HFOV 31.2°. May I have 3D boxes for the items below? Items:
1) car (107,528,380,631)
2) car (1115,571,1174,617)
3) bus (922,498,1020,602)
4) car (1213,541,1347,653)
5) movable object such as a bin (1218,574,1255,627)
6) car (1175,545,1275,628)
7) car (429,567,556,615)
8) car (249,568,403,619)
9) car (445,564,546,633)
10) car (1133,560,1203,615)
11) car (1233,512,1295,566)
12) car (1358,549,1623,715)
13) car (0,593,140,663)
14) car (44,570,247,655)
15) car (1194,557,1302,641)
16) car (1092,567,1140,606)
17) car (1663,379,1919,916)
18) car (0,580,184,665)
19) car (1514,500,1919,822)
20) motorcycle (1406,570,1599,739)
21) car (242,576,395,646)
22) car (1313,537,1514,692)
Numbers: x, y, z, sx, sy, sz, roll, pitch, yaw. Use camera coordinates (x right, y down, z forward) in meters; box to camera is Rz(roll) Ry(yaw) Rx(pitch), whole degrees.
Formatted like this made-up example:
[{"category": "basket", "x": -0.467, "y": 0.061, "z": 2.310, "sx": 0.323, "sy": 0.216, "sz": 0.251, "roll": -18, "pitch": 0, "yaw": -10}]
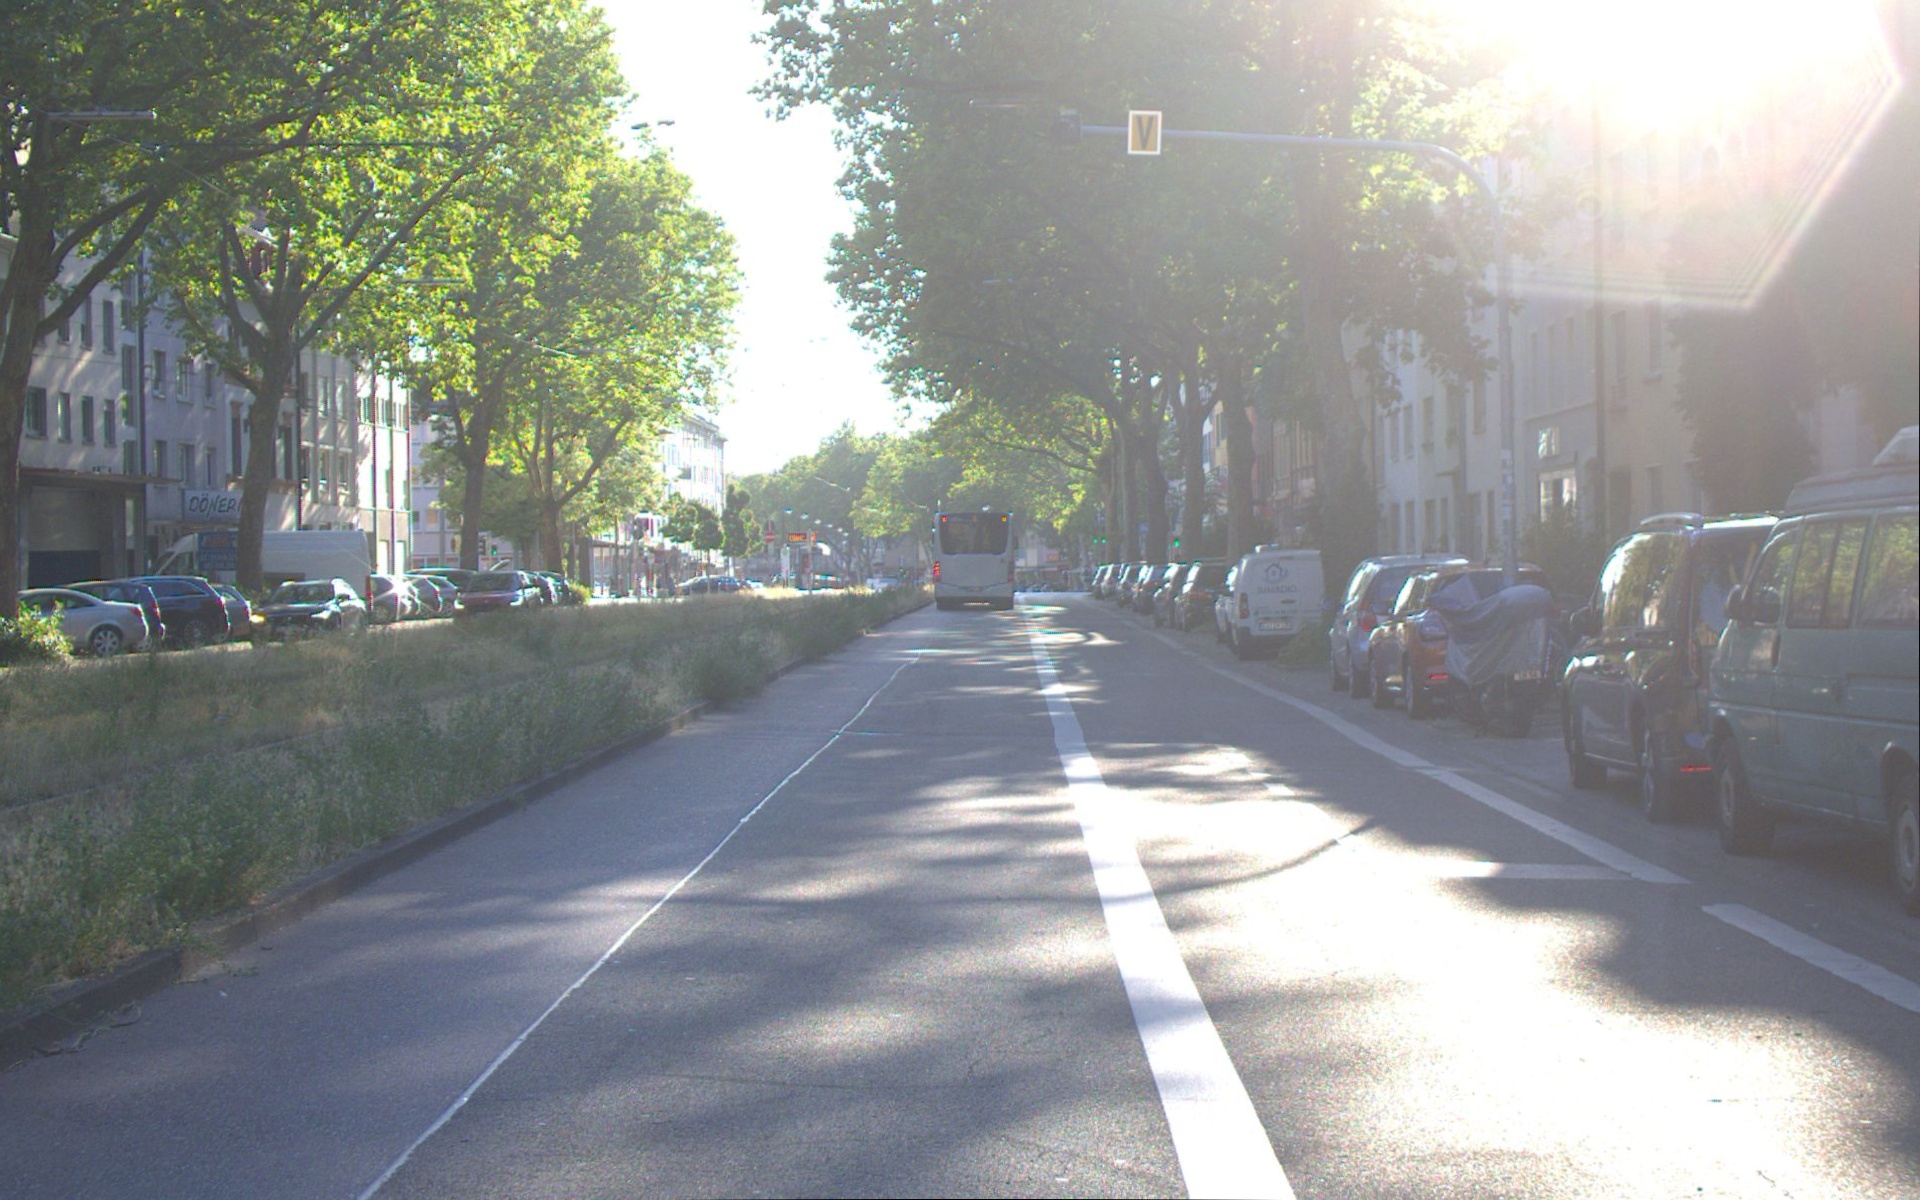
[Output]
[{"category": "car", "x": -19.306, "y": -0.563, "z": 92.630, "sx": 6.935, "sy": 2.669, "sz": 2.186, "roll": -1, "pitch": 0, "yaw": -20}, {"category": "car", "x": 6.267, "y": -0.217, "z": 116.970, "sx": 1.781, "sy": 1.510, "sz": 4.000, "roll": -1, "pitch": 1, "yaw": 1}, {"category": "bus", "x": 0.308, "y": -1.556, "z": 111.422, "sx": 2.833, "sy": 3.224, "sz": 8.183, "roll": -1, "pitch": 0, "yaw": -2}, {"category": "car", "x": 5.270, "y": -0.050, "z": 57.096, "sx": 1.744, "sy": 1.764, "sz": 4.394, "roll": -1, "pitch": 0, "yaw": -1}, {"category": "movable object such as a bin", "x": 5.666, "y": 0.000, "z": 70.448, "sx": 0.673, "sy": 1.042, "sz": 0.880, "roll": -1, "pitch": 2, "yaw": 1}, {"category": "car", "x": 5.847, "y": -0.287, "z": 76.257, "sx": 1.744, "sy": 1.764, "sz": 4.988, "roll": -1, "pitch": 0, "yaw": -1}, {"category": "car", "x": -17.348, "y": -0.336, "z": 127.666, "sx": 4.300, "sy": 1.732, "sz": 1.858, "roll": -1, "pitch": 0, "yaw": -40}, {"category": "car", "x": -18.821, "y": -0.181, "z": 102.203, "sx": 4.297, "sy": 1.453, "sz": 1.859, "roll": -1, "pitch": 0, "yaw": -5}, {"category": "car", "x": -11.066, "y": -0.058, "z": 82.080, "sx": 1.790, "sy": 1.568, "sz": 4.000, "roll": -1, "pitch": 1, "yaw": 1}, {"category": "car", "x": 5.974, "y": -0.369, "z": 99.101, "sx": 1.781, "sy": 1.510, "sz": 4.000, "roll": -1, "pitch": 1, "yaw": 1}, {"category": "car", "x": 10.980, "y": -2.184, "z": 124.324, "sx": 1.883, "sy": 1.853, "sz": 4.325, "roll": -1, "pitch": 0, "yaw": 1}, {"category": "car", "x": 5.263, "y": 0.309, "z": 34.629, "sx": 1.993, "sy": 1.555, "sz": 3.980, "roll": -1, "pitch": 0, "yaw": -1}, {"category": "car", "x": -18.532, "y": 0.563, "z": 68.437, "sx": 3.987, "sy": 1.351, "sz": 1.586, "roll": -1, "pitch": 0, "yaw": -31}, {"category": "car", "x": -18.220, "y": 0.273, "z": 76.924, "sx": 3.987, "sy": 1.693, "sz": 1.856, "roll": -3, "pitch": 1, "yaw": -31}, {"category": "car", "x": 5.298, "y": -0.047, "z": 63.643, "sx": 1.645, "sy": 1.481, "sz": 4.000, "roll": -1, "pitch": 1, "yaw": 0}, {"category": "car", "x": 6.319, "y": -0.554, "z": 139.340, "sx": 1.781, "sy": 1.510, "sz": 4.000, "roll": -1, "pitch": 1, "yaw": 1}, {"category": "car", "x": 4.988, "y": 0.195, "z": 16.693, "sx": 1.993, "sy": 2.249, "sz": 5.235, "roll": -1, "pitch": 0, "yaw": -1}, {"category": "car", "x": -18.878, "y": 0.464, "z": 73.566, "sx": 3.987, "sy": 1.547, "sz": 1.856, "roll": -4, "pitch": 3, "yaw": -31}, {"category": "car", "x": 4.977, "y": 0.349, "z": 22.075, "sx": 1.993, "sy": 1.823, "sz": 4.757, "roll": -1, "pitch": 0, "yaw": -1}, {"category": "motorcycle", "x": 4.765, "y": 0.453, "z": 30.373, "sx": 0.823, "sy": 1.393, "sz": 2.380, "roll": -3, "pitch": 1, "yaw": -12}, {"category": "car", "x": -14.045, "y": 0.231, "z": 75.535, "sx": 1.746, "sy": 1.455, "sz": 4.923, "roll": -1, "pitch": 0, "yaw": 9}, {"category": "car", "x": 5.190, "y": 0.161, "z": 39.756, "sx": 1.744, "sy": 1.684, "sz": 3.852, "roll": -1, "pitch": 0, "yaw": -1}]
